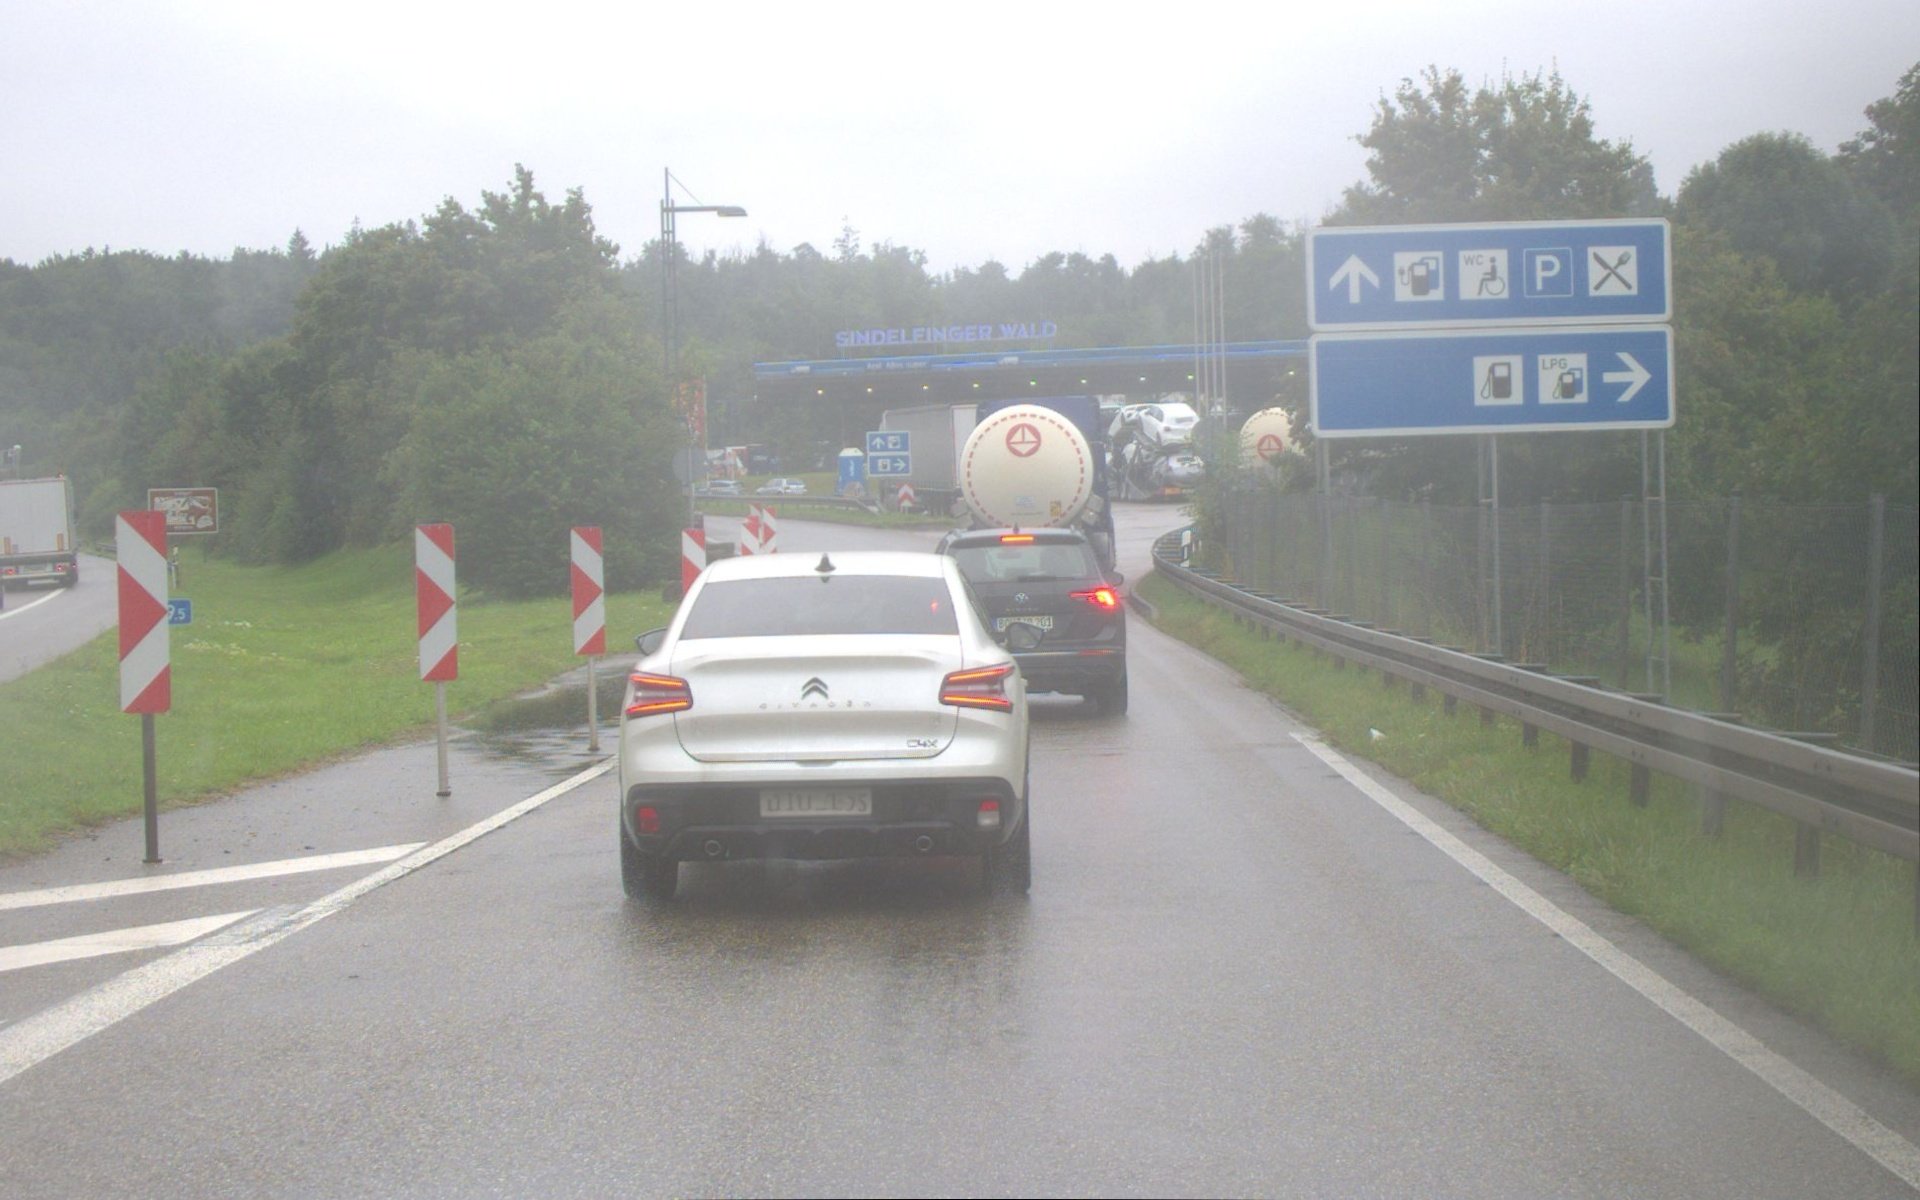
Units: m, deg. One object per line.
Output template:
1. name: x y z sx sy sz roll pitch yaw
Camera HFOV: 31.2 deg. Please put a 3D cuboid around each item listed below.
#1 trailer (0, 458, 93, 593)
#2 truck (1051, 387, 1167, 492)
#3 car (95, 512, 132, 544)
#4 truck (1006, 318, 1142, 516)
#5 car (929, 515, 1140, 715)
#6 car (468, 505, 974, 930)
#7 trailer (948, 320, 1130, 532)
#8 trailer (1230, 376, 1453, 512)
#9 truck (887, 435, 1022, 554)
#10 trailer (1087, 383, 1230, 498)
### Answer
1. trailer: -33.911 -2.666 126.089 3.547 4.596 12.123 -3 1 -13
2. truck: 6.168 -6.729 143.608 3.233 4.173 8.447 -2 3 -8
3. car: -55.003 -4.684 223.454 1.993 2.007 4.001 0 1 -19
4. truck: 2.187 -3.418 64.428 2.053 3.518 4.745 -2 3 7
5. car: 0.638 0.097 30.566 1.742 1.661 4.000 0 1 1
6. car: -0.984 0.425 15.630 1.993 1.673 4.000 0 1 -1
7. trailer: 1.468 -2.947 58.353 1.981 3.213 10.320 -2 3 7
8. trailer: 10.611 -4.359 94.410 2.134 3.428 10.238 -1 3 29
9. truck: -0.303 -3.811 121.559 2.370 3.860 12.459 -3 3 -10
10. trailer: 7.607 -6.227 133.690 3.215 4.174 11.533 -2 3 -8
